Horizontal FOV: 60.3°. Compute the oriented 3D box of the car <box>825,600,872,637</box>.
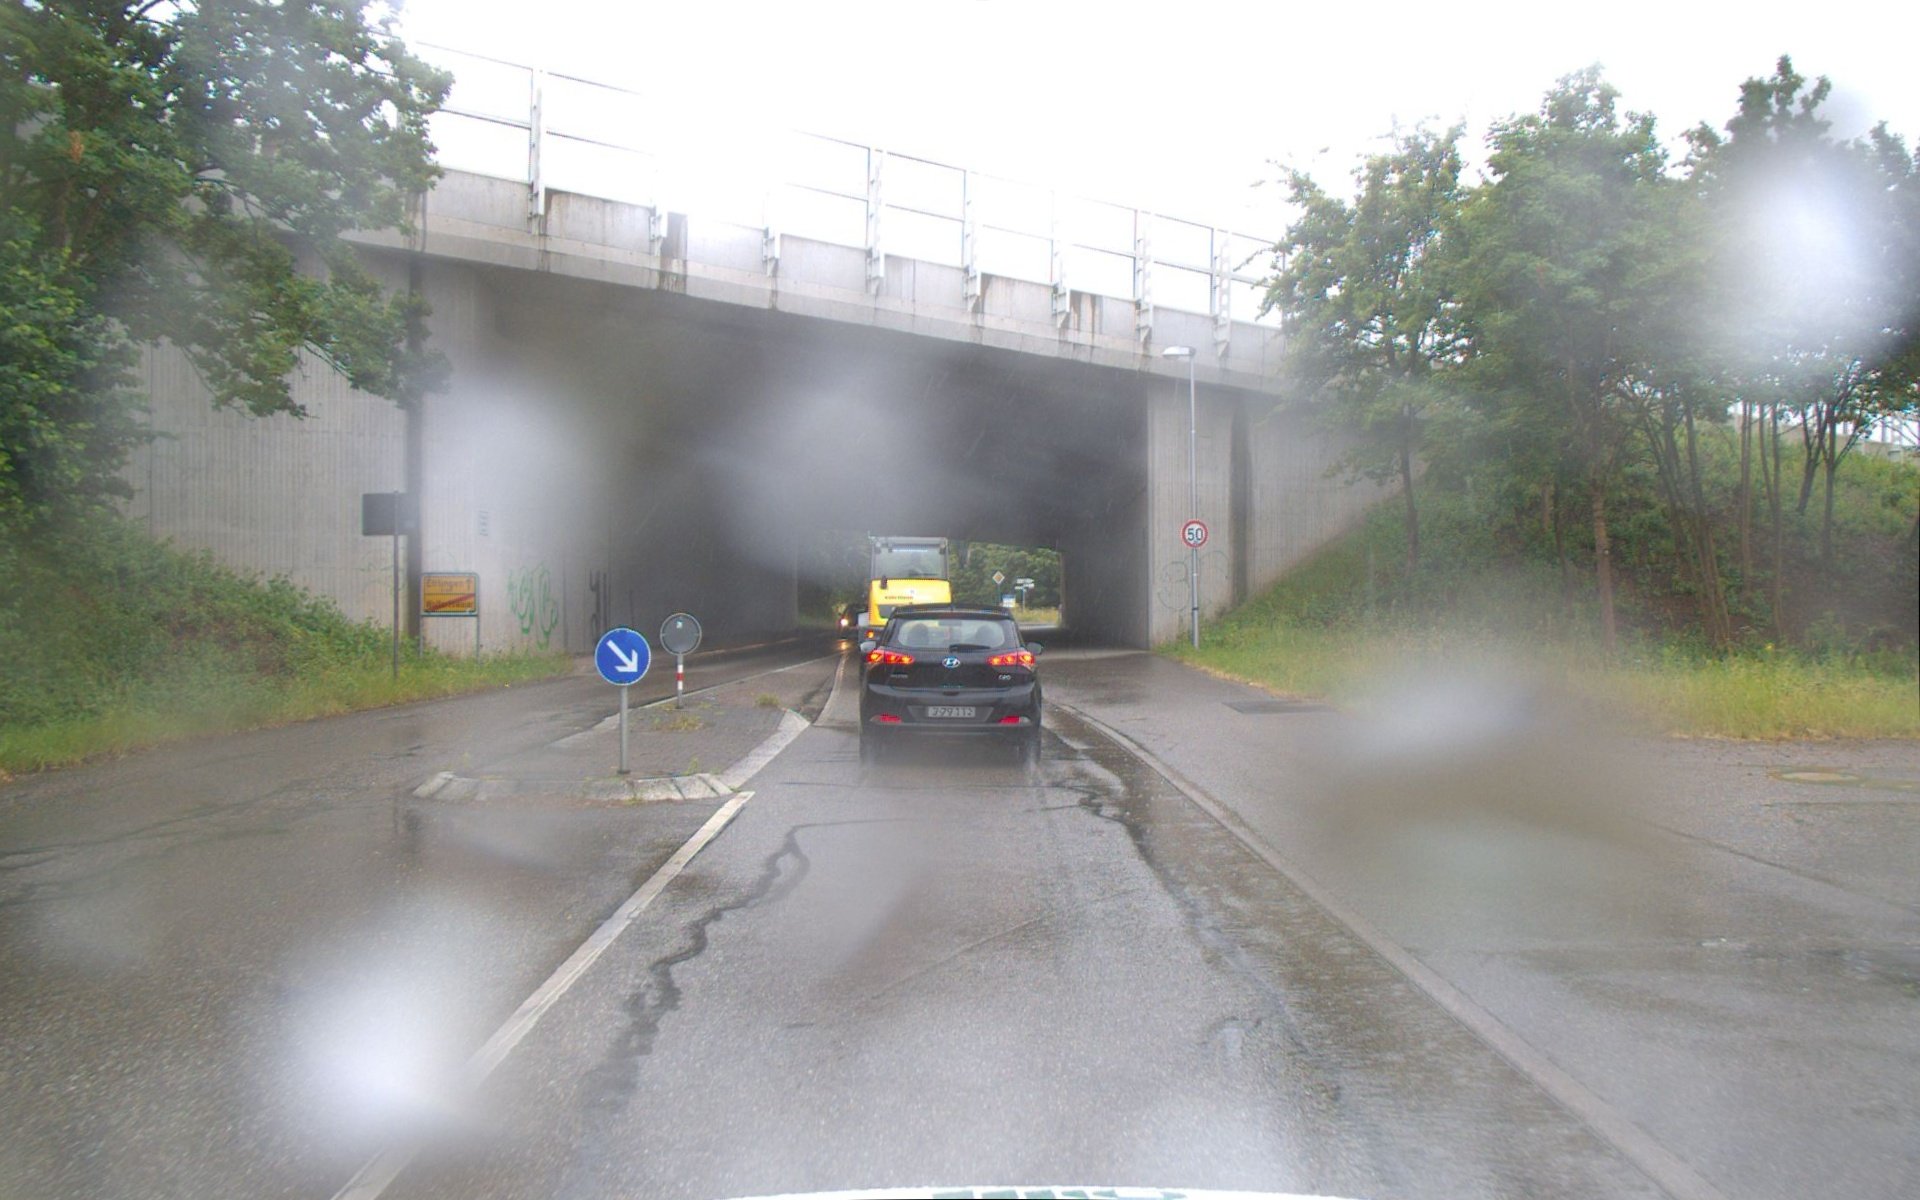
[{"bbox_3d":[-4.741,0.767,70.641,1.655,1.513,4.073,0,0,1],"label":"car"}]

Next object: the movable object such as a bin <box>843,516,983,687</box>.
[{"bbox_3d":[-0.882,0.043,30.107,2.200,2.716,6.623,1,0,-2],"label":"movable object such as a bin"}]

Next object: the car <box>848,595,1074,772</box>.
[{"bbox_3d":[-0.056,0.744,16.539,1.953,1.513,3.998,1,0,-2],"label":"car"}]
